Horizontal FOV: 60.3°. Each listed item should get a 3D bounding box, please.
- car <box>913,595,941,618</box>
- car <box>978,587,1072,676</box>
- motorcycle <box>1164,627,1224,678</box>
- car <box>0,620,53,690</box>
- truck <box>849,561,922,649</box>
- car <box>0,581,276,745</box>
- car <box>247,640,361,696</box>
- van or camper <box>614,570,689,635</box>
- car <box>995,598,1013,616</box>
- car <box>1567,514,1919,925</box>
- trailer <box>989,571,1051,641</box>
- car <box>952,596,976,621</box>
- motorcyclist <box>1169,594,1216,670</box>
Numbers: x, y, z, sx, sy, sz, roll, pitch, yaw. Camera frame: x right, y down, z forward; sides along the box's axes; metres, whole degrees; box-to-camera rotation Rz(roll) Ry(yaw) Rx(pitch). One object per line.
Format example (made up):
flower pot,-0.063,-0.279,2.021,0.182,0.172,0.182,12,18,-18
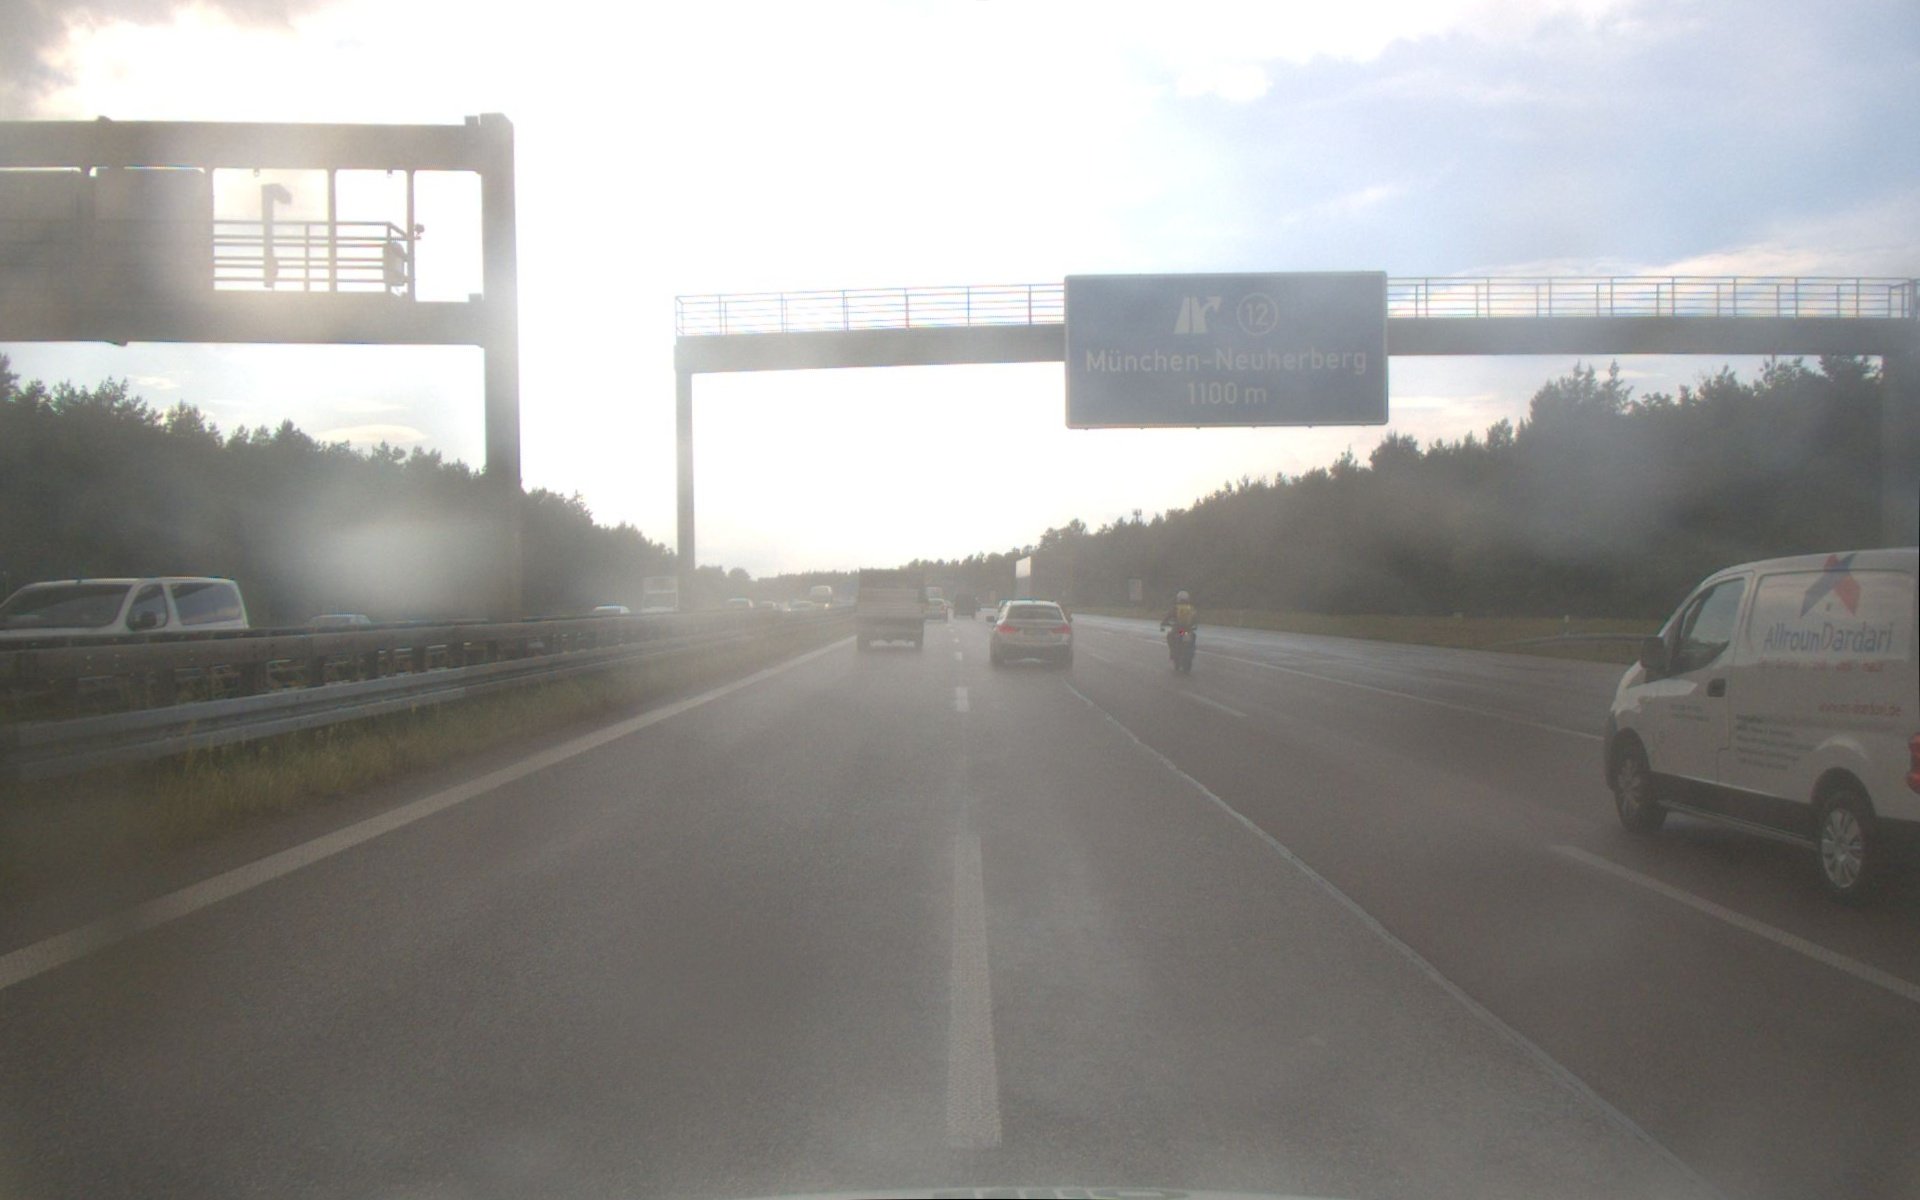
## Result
car,-2.207,0.443,110.970,1.793,1.492,3.999,1,0,-1
car,1.526,0.691,38.935,2.034,1.918,5.012,1,0,2
motorcycle,5.111,1.134,36.225,0.979,1.049,2.173,0,0,-1
car,-18.696,1.028,30.762,1.592,1.280,3.841,0,0,-1
truck,-2.248,0.153,50.176,2.094,2.533,5.310,0,0,-2
car,-10.988,0.720,21.894,1.859,1.901,4.896,-1,0,-1
car,-18.571,1.900,47.016,1.708,1.400,3.999,-1,0,-1
van or camper,-15.686,0.109,84.610,2.253,3.167,7.544,0,0,1
car,5.277,0.822,200.026,1.953,2.049,3.999,2,0,-2
car,5.476,0.568,9.816,1.923,1.935,4.881,0,0,0
trailer,3.629,0.365,103.386,2.278,4.072,13.397,0,0,-5
car,0.311,0.698,136.746,1.869,2.049,3.998,1,0,-2
motorcyclist,5.086,0.696,36.202,0.873,1.643,0.958,0,0,-1
